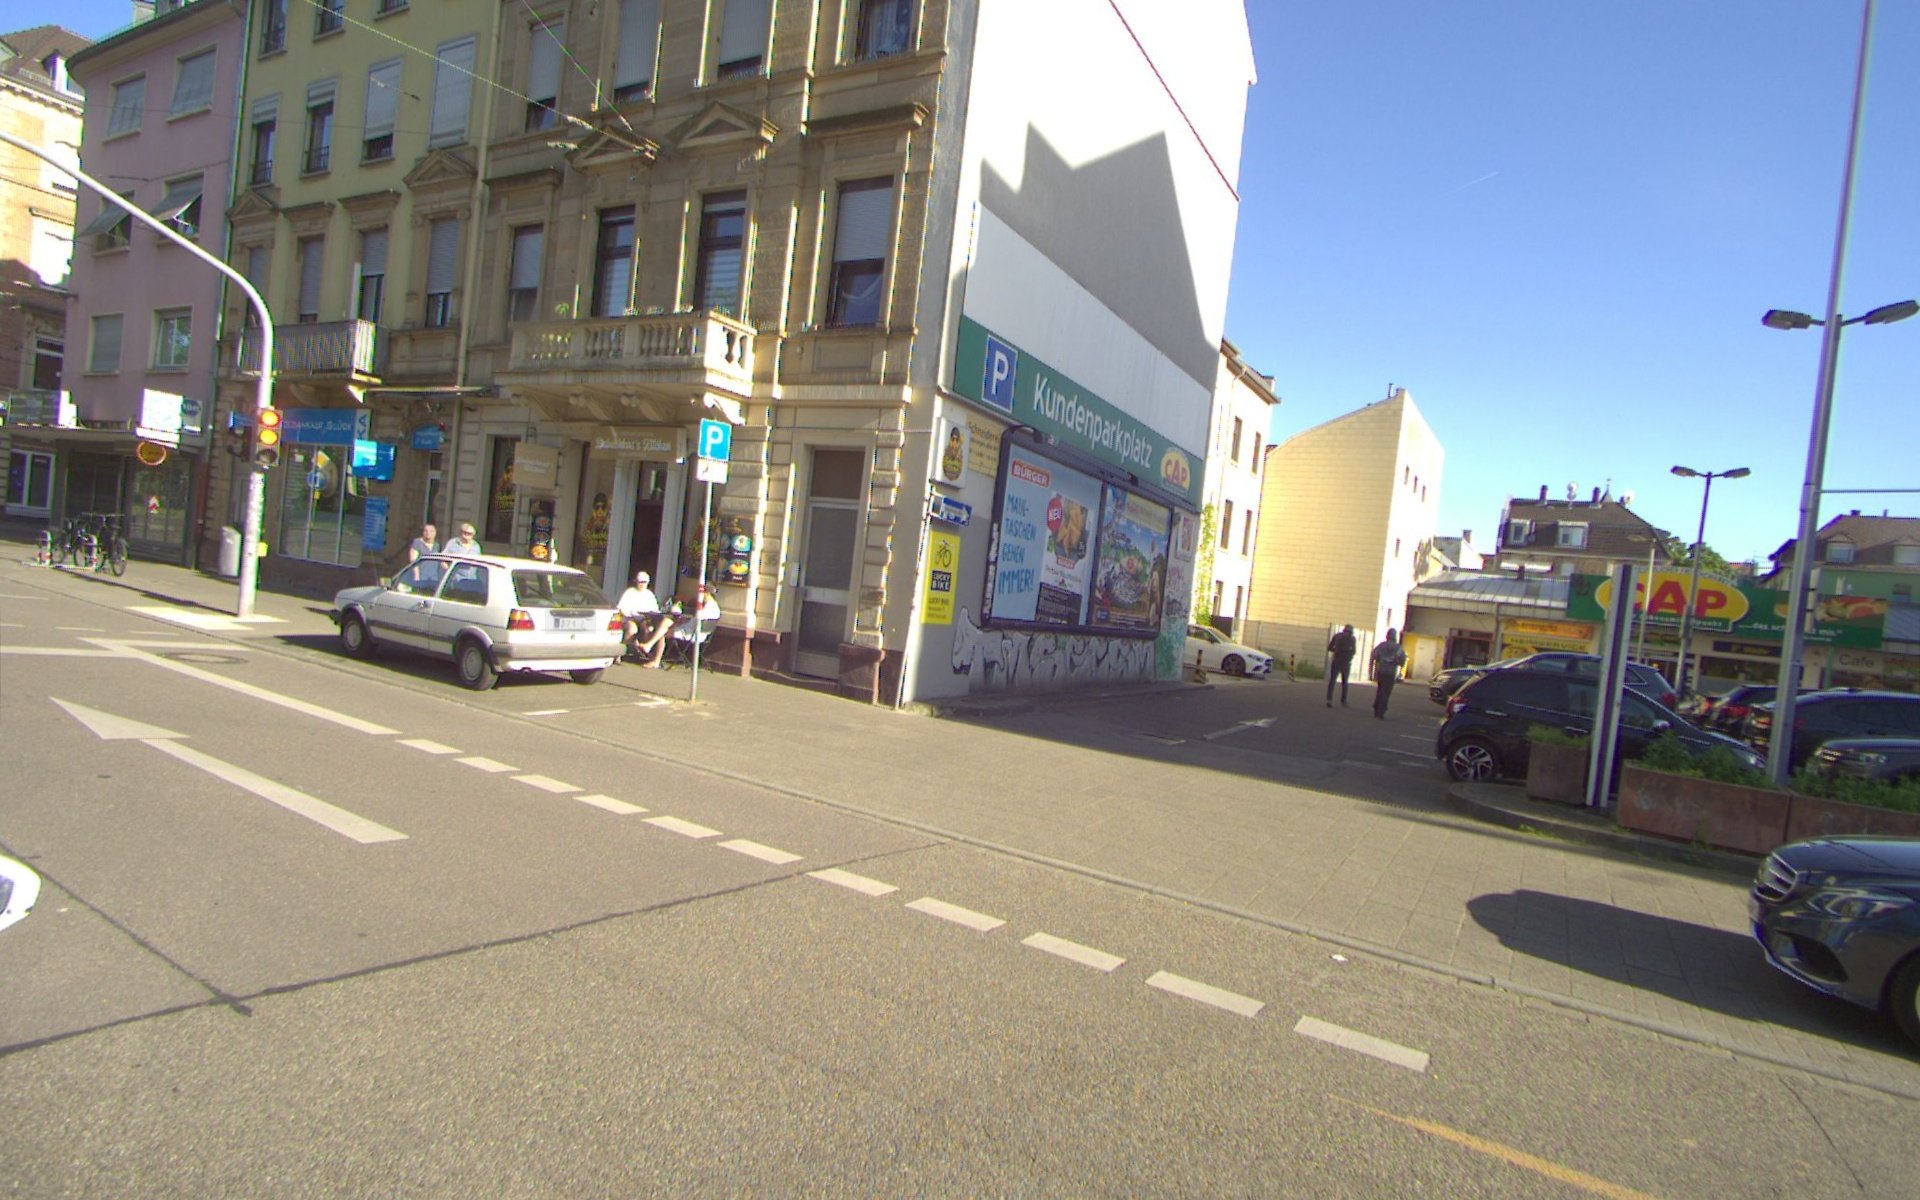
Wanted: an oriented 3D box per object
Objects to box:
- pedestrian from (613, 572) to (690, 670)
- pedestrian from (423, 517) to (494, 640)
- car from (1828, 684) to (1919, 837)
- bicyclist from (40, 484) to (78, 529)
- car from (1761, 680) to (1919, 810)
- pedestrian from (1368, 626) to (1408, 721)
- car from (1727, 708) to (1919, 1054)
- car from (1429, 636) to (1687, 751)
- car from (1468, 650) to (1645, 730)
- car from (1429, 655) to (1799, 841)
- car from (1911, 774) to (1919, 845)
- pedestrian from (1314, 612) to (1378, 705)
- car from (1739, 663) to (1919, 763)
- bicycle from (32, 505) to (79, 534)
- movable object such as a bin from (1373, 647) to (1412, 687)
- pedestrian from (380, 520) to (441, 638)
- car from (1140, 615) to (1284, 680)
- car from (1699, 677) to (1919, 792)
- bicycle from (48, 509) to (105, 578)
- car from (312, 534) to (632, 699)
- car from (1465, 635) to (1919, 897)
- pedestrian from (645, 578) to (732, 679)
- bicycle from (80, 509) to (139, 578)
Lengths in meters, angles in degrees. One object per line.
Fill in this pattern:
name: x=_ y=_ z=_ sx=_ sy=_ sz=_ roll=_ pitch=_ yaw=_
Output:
pedestrian: x=-4.380 y=0.288 z=14.303 sx=0.598 sy=1.299 sz=0.797 roll=7 pitch=4 yaw=29
pedestrian: x=-7.810 y=-0.322 z=15.676 sx=0.522 sy=1.830 sz=0.673 roll=7 pitch=2 yaw=31
car: x=13.234 y=2.160 z=11.977 sx=3.931 sy=1.715 sz=1.746 roll=7 pitch=2 yaw=29
bicyclist: x=-32.467 y=-3.352 z=36.261 sx=0.540 sy=1.521 sz=0.957 roll=6 pitch=1 yaw=-17
car: x=14.155 y=2.221 z=14.391 sx=3.871 sy=1.564 sz=1.543 roll=7 pitch=1 yaw=30
pedestrian: x=8.393 y=1.439 z=19.719 sx=0.504 sy=1.778 sz=0.761 roll=7 pitch=1 yaw=26
car: x=6.755 y=1.697 z=4.773 sx=4.656 sy=1.507 sz=1.832 roll=7 pitch=3 yaw=32
car: x=12.337 y=1.875 z=21.006 sx=4.309 sy=1.687 sz=1.756 roll=7 pitch=1 yaw=32
car: x=16.286 y=2.419 z=27.630 sx=3.933 sy=1.538 sz=1.723 roll=7 pitch=1 yaw=31
car: x=7.518 y=1.631 z=11.932 sx=3.336 sy=1.504 sz=1.561 roll=7 pitch=1 yaw=28
car: x=12.186 y=2.057 z=9.674 sx=3.930 sy=1.665 sz=1.748 roll=7 pitch=0 yaw=28
pedestrian: x=8.188 y=1.231 z=21.358 sx=0.751 sy=1.865 sz=0.744 roll=6 pitch=1 yaw=-20
car: x=18.516 y=2.342 z=20.455 sx=3.872 sy=1.601 sz=1.658 roll=7 pitch=1 yaw=31
bicycle: x=-32.509 y=-2.884 z=36.179 sx=0.644 sy=0.914 sz=1.333 roll=7 pitch=0 yaw=-16
movable object such as a bin: x=18.444 y=2.847 z=42.900 sx=1.258 sy=1.527 sz=1.174 roll=7 pitch=1 yaw=31
pedestrian: x=-8.323 y=-0.309 z=15.243 sx=0.382 sy=1.730 sz=0.550 roll=8 pitch=2 yaw=34
car: x=7.939 y=1.488 z=31.798 sx=3.933 sy=1.482 sz=1.756 roll=7 pitch=1 yaw=32
car: x=16.181 y=2.474 z=18.511 sx=3.872 sy=1.564 sz=1.543 roll=7 pitch=1 yaw=31
bicycle: x=-16.753 y=-1.088 z=19.060 sx=1.782 sy=1.155 sz=0.414 roll=7 pitch=1 yaw=38
car: x=-5.930 y=0.112 z=12.090 sx=3.937 sy=1.435 sz=1.562 roll=7 pitch=4 yaw=32
car: x=6.989 y=1.420 z=9.429 sx=3.835 sy=1.666 sz=1.651 roll=8 pitch=3 yaw=28
pedestrian: x=-3.779 y=0.380 z=14.033 sx=0.644 sy=1.299 sz=0.901 roll=7 pitch=4 yaw=27
bicycle: x=-16.483 y=-1.113 z=19.483 sx=1.731 sy=1.173 sz=0.448 roll=7 pitch=1 yaw=38
